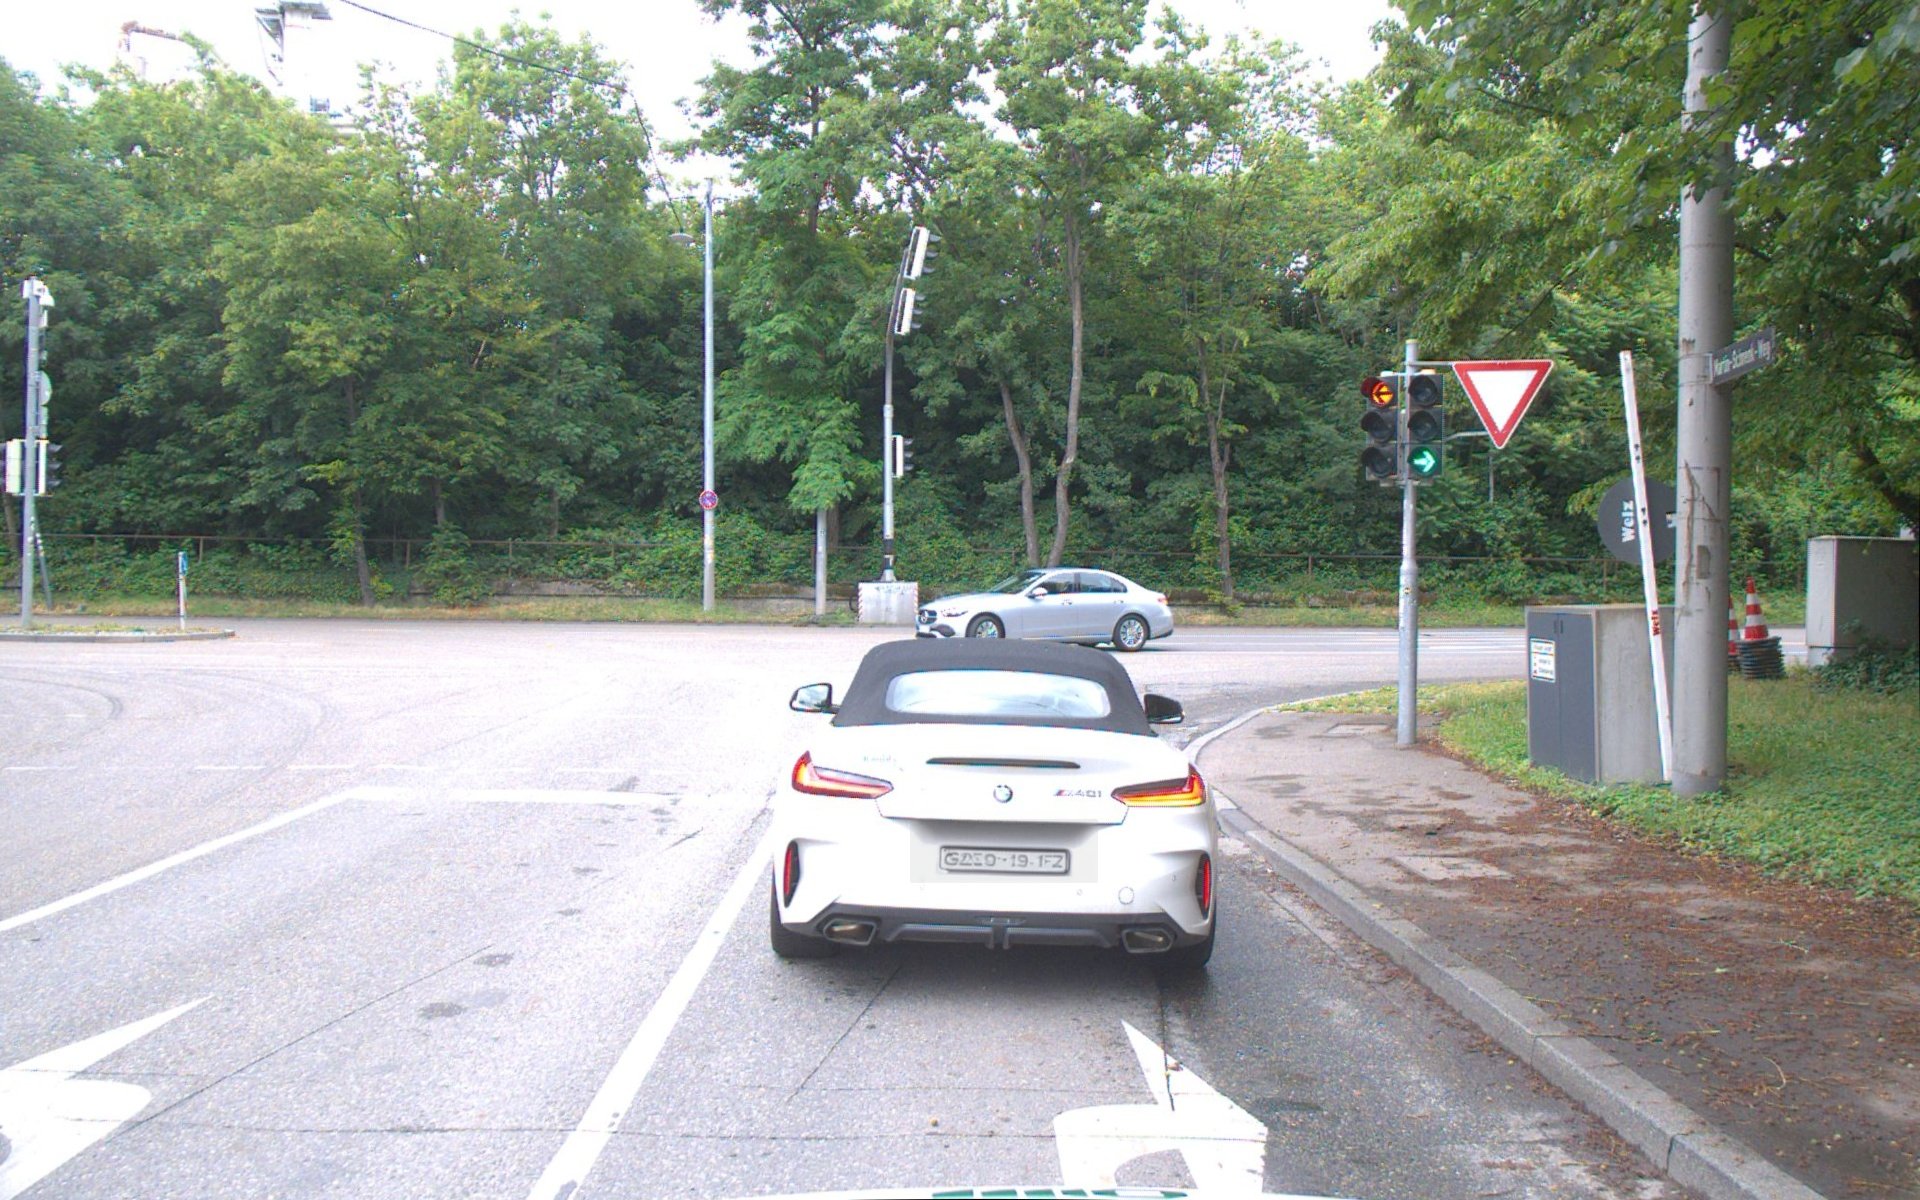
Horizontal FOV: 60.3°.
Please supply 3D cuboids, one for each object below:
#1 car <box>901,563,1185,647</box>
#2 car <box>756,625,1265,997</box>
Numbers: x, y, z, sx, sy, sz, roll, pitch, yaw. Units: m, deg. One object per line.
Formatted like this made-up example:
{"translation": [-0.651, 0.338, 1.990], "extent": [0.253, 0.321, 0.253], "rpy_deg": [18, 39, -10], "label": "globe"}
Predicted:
{"translation": [1.460, 0.060, 29.088], "extent": [4.684, 1.356, 1.822], "rpy_deg": [0, 2, -22], "label": "car"}
{"translation": [0.093, 0.811, 7.892], "extent": [1.791, 1.279, 3.997], "rpy_deg": [2, -2, -3], "label": "car"}
